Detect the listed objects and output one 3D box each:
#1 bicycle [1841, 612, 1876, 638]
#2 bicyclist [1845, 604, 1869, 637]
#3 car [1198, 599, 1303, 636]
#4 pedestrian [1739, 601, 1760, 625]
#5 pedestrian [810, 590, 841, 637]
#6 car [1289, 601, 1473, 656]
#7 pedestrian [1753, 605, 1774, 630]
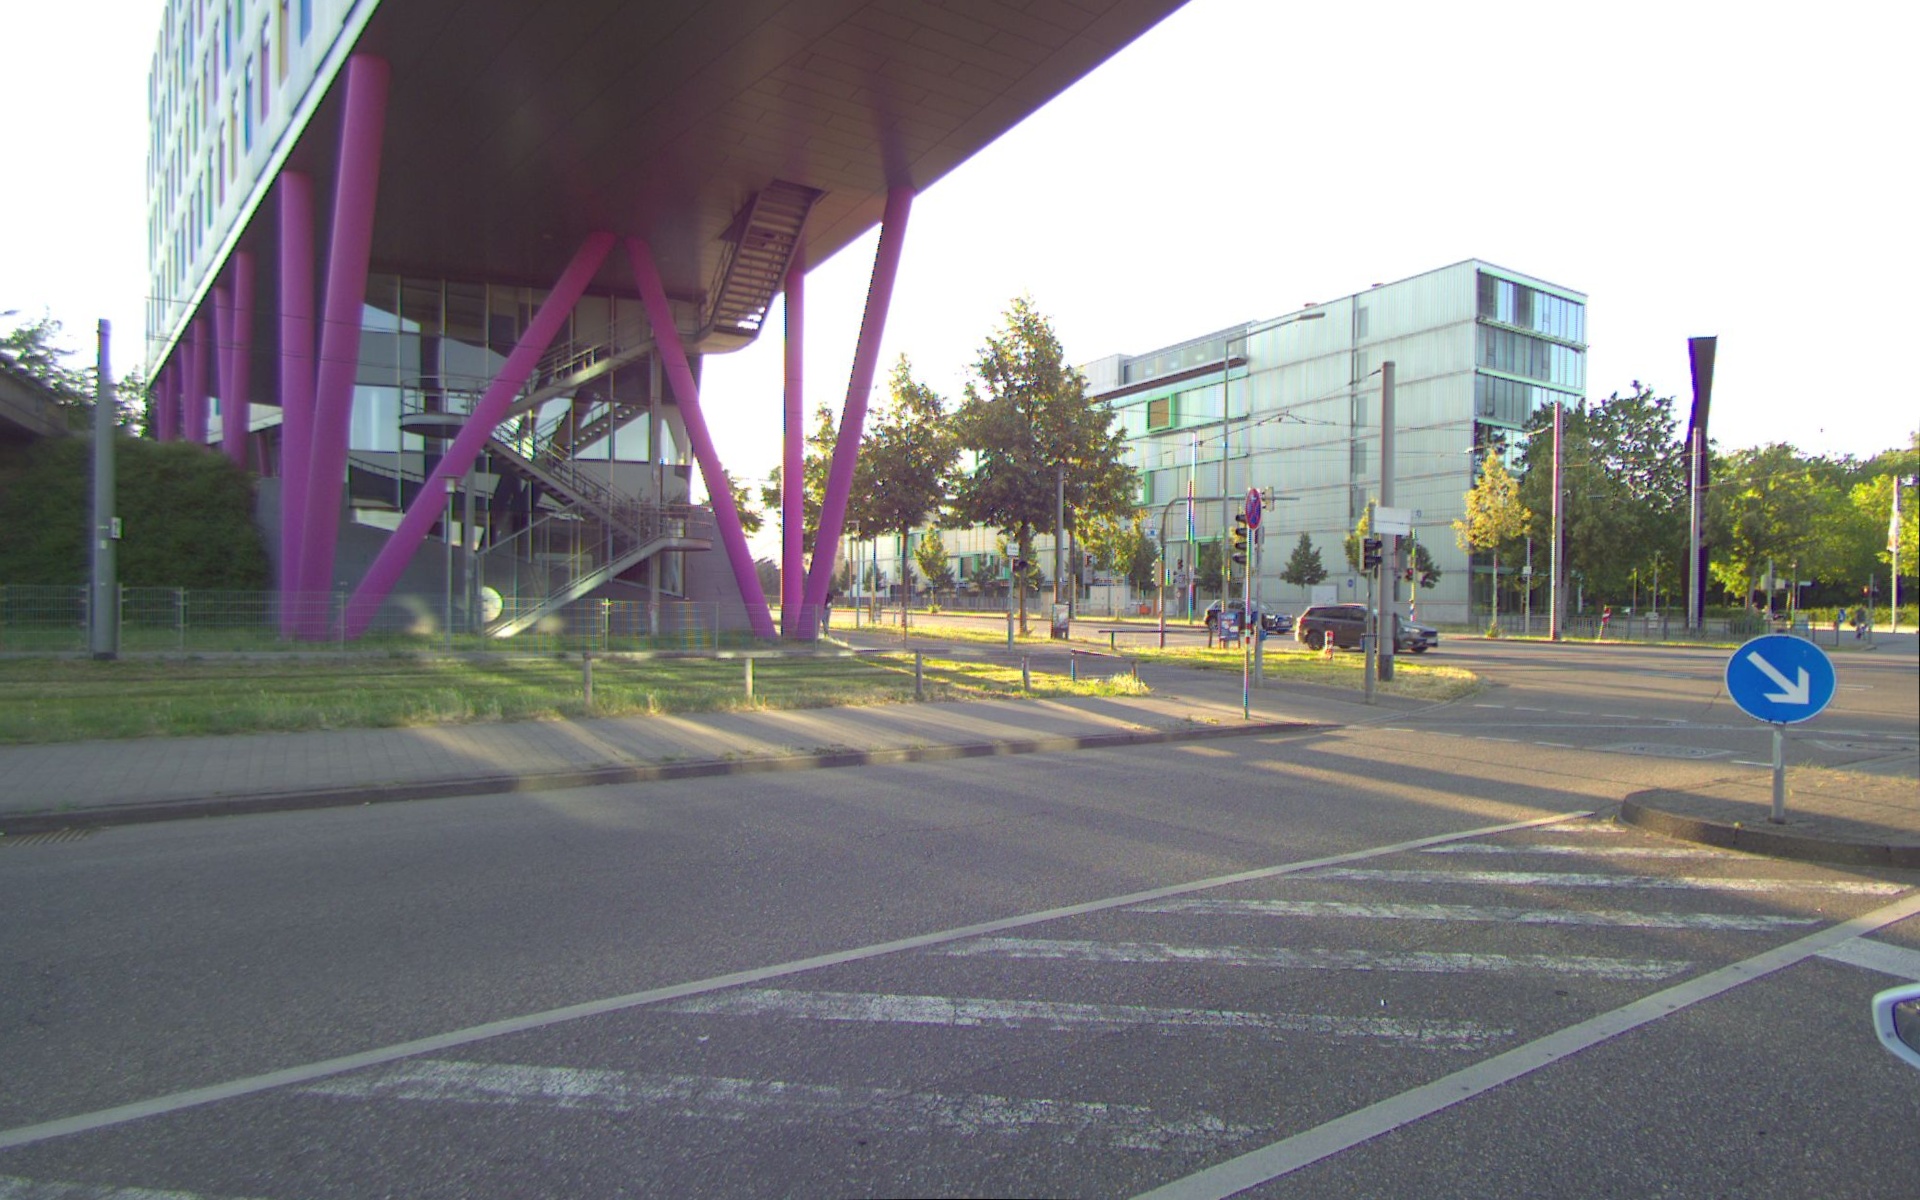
[{"bbox_3d":[48.395,1.326,54.132,0.719,1.359,2.687,1,0,27],"label":"bicycle"},{"bbox_3d":[48.325,1.100,54.112,0.739,1.732,0.919,1,0,27],"label":"bicyclist"},{"bbox_3d":[13.288,0.791,46.201,1.968,1.577,4.448,1,0,-34],"label":"car"},{"bbox_3d":[57.395,0.953,73.049,0.814,1.767,0.863,1,0,1],"label":"pedestrian"},{"bbox_3d":[-5.035,0.507,37.651,0.921,1.747,0.877,1,-2,-26],"label":"pedestrian"},{"bbox_3d":[13.030,0.845,31.347,1.971,1.531,4.967,1,0,-39],"label":"car"},{"bbox_3d":[58.381,1.263,73.002,0.813,1.767,0.863,1,0,4],"label":"pedestrian"}]
